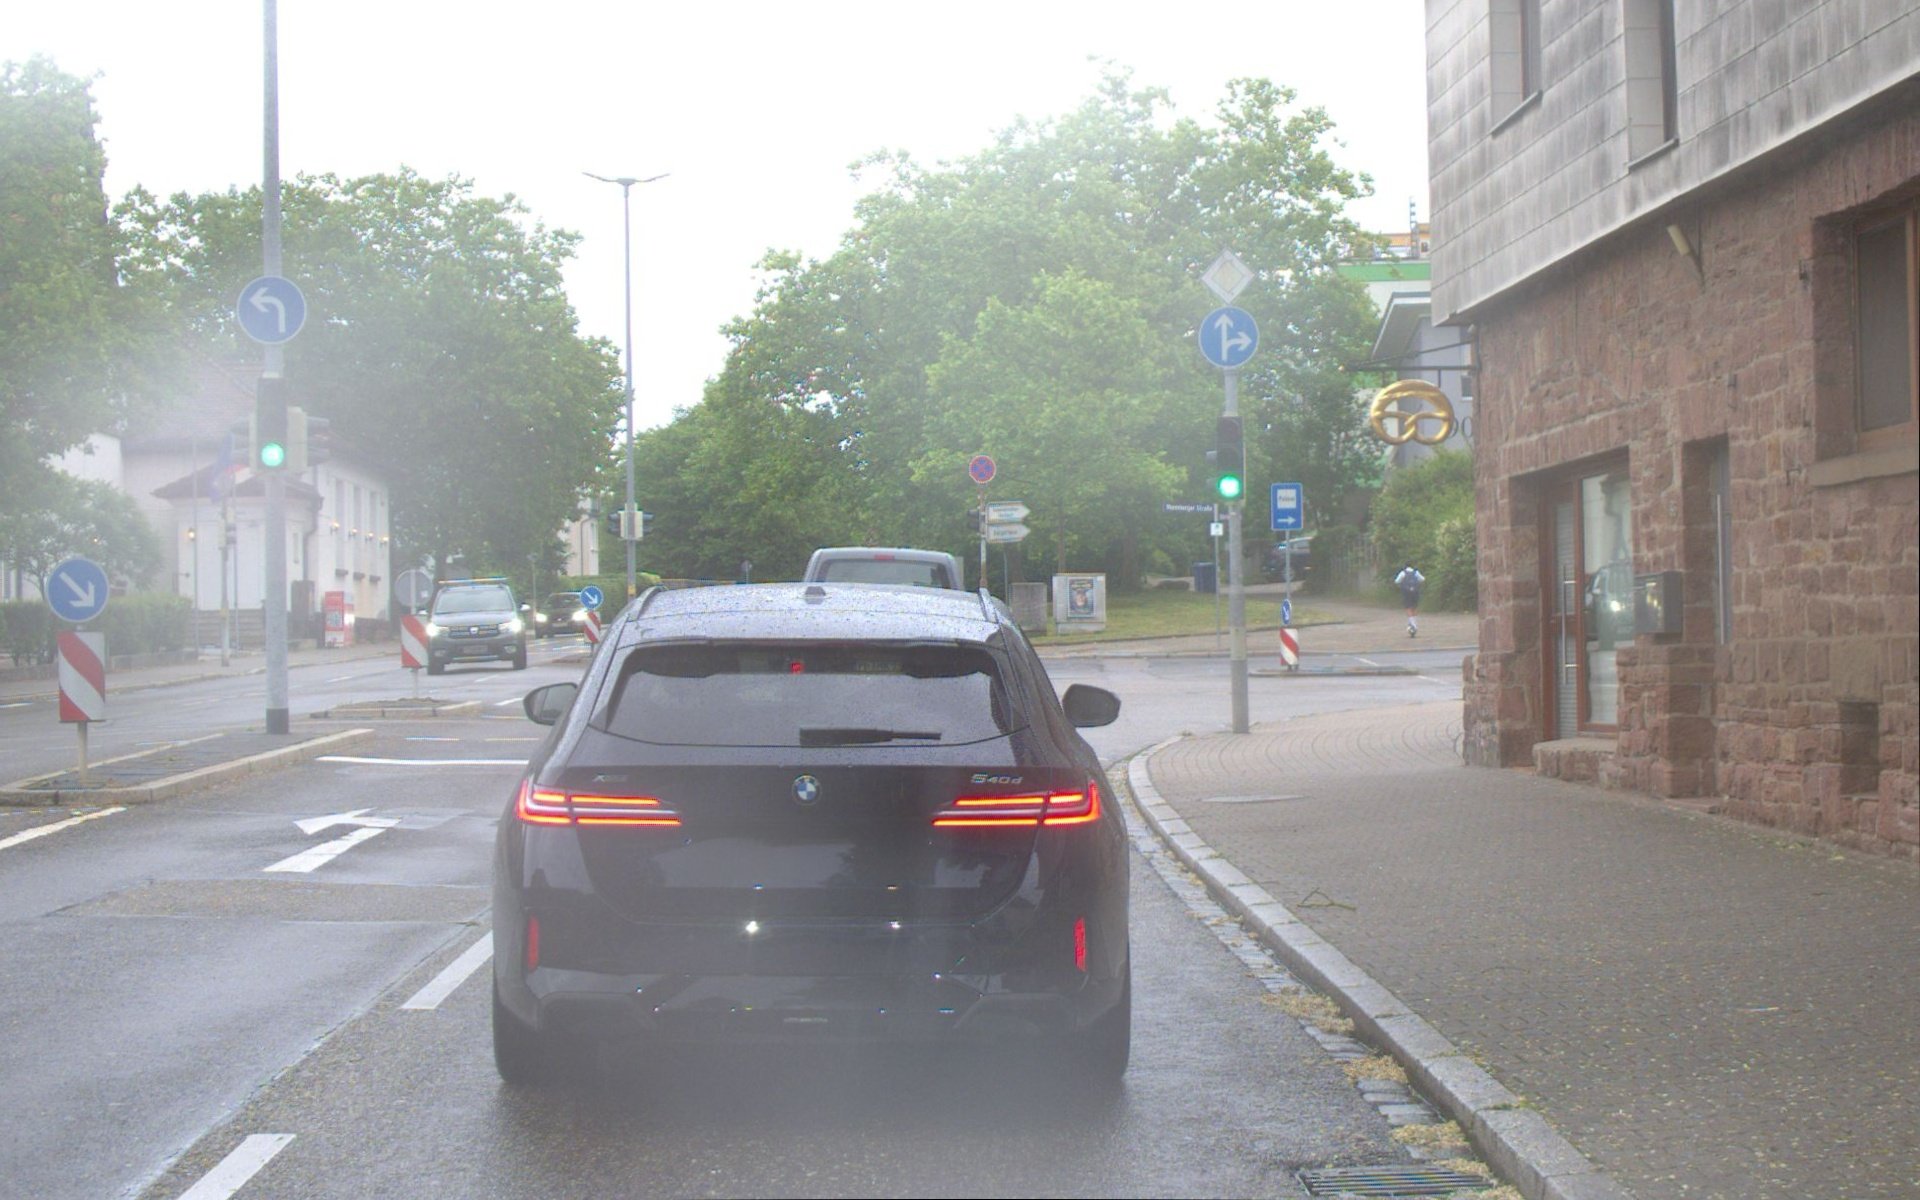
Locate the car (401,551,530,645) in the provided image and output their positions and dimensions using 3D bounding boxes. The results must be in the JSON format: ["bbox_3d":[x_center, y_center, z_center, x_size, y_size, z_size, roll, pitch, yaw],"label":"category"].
[{"bbox_3d":[-8.778,-0.061,61.280,1.898,1.572,4.503,-1,1,-4],"label":"car"}]

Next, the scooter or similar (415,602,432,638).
[{"bbox_3d":[-16.081,0.594,103.023,0.389,1.061,1.410,1,0,-5],"label":"scooter or similar"}]

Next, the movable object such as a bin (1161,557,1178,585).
[{"bbox_3d":[6.922,-0.948,113.491,0.450,0.902,0.462,1,0,15],"label":"movable object such as a bin"}]

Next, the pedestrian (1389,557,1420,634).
[{"bbox_3d":[9.340,-0.099,72.212,0.601,1.611,0.525,1,0,6],"label":"pedestrian"}]

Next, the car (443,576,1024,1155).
[{"bbox_3d":[-0.714,0.721,10.953,1.523,1.529,3.532,1,0,-4],"label":"car"}]

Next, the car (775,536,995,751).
[{"bbox_3d":[-0.736,0.376,31.154,1.812,1.802,3.757,1,0,-4],"label":"car"}]
